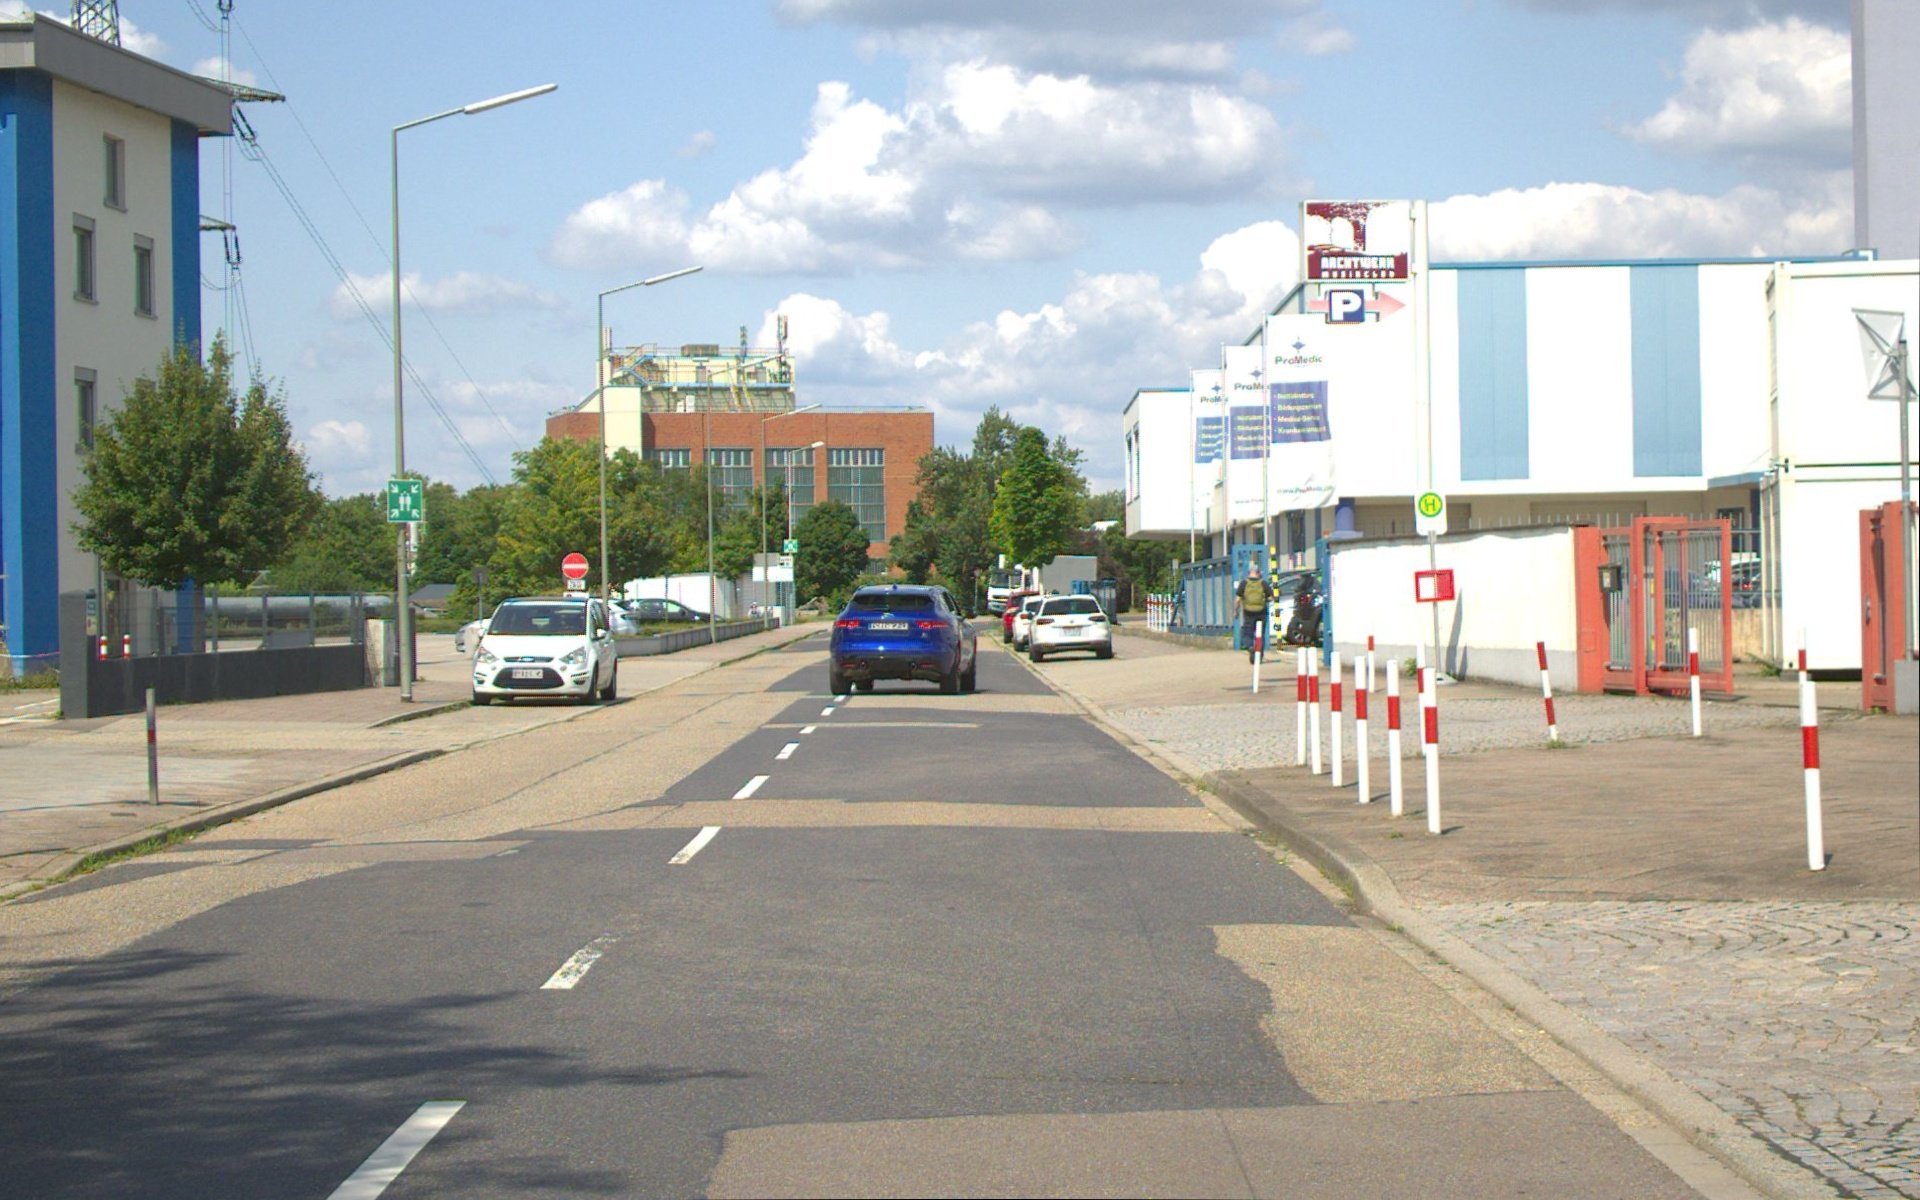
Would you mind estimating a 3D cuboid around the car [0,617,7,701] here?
[{"bbox_3d":[-18.267,1.079,60.019,1.873,1.502,3.757,-1,0,6],"label":"car"}]

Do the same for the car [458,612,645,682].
[{"bbox_3d":[-10.805,1.239,91.274,4.754,1.597,2.000,-3,0,-3],"label":"car"}]

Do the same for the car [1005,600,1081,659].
[{"bbox_3d":[2.200,0.762,91.988,1.835,1.515,4.461,-1,0,-1],"label":"car"}]

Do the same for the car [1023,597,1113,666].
[{"bbox_3d":[2.456,0.707,79.181,1.867,1.515,4.598,-1,0,-1],"label":"car"}]

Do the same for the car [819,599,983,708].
[{"bbox_3d":[-0.856,0.796,52.965,1.910,1.588,4.700,-1,0,7],"label":"car"}]

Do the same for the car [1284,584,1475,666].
[{"bbox_3d":[8.870,0.517,72.854,3.806,1.674,1.791,-1,0,0],"label":"car"}]

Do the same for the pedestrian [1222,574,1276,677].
[{"bbox_3d":[5.090,0.446,60.577,0.769,1.750,0.787,-3,0,-1],"label":"pedestrian"}]

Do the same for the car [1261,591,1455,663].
[{"bbox_3d":[8.718,0.586,75.555,3.987,1.415,2.000,-2,0,1],"label":"car"}]

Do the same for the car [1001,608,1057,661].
[{"bbox_3d":[2.247,1.087,110.996,1.755,1.645,4.677,-1,0,2],"label":"car"}]

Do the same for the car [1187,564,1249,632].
[{"bbox_3d":[9.642,-0.076,128.782,1.924,2.455,5.259,0,0,0],"label":"car"}]

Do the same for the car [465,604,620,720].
[{"bbox_3d":[-6.354,0.910,52.757,1.867,1.702,4.753,0,0,-1],"label":"car"}]

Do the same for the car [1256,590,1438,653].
[{"bbox_3d":[9.601,0.525,85.474,4.279,1.415,2.000,-2,0,1],"label":"car"}]

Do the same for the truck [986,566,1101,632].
[{"bbox_3d":[4.849,-0.104,197.623,2.325,3.555,9.351,1,2,30],"label":"truck"}]
